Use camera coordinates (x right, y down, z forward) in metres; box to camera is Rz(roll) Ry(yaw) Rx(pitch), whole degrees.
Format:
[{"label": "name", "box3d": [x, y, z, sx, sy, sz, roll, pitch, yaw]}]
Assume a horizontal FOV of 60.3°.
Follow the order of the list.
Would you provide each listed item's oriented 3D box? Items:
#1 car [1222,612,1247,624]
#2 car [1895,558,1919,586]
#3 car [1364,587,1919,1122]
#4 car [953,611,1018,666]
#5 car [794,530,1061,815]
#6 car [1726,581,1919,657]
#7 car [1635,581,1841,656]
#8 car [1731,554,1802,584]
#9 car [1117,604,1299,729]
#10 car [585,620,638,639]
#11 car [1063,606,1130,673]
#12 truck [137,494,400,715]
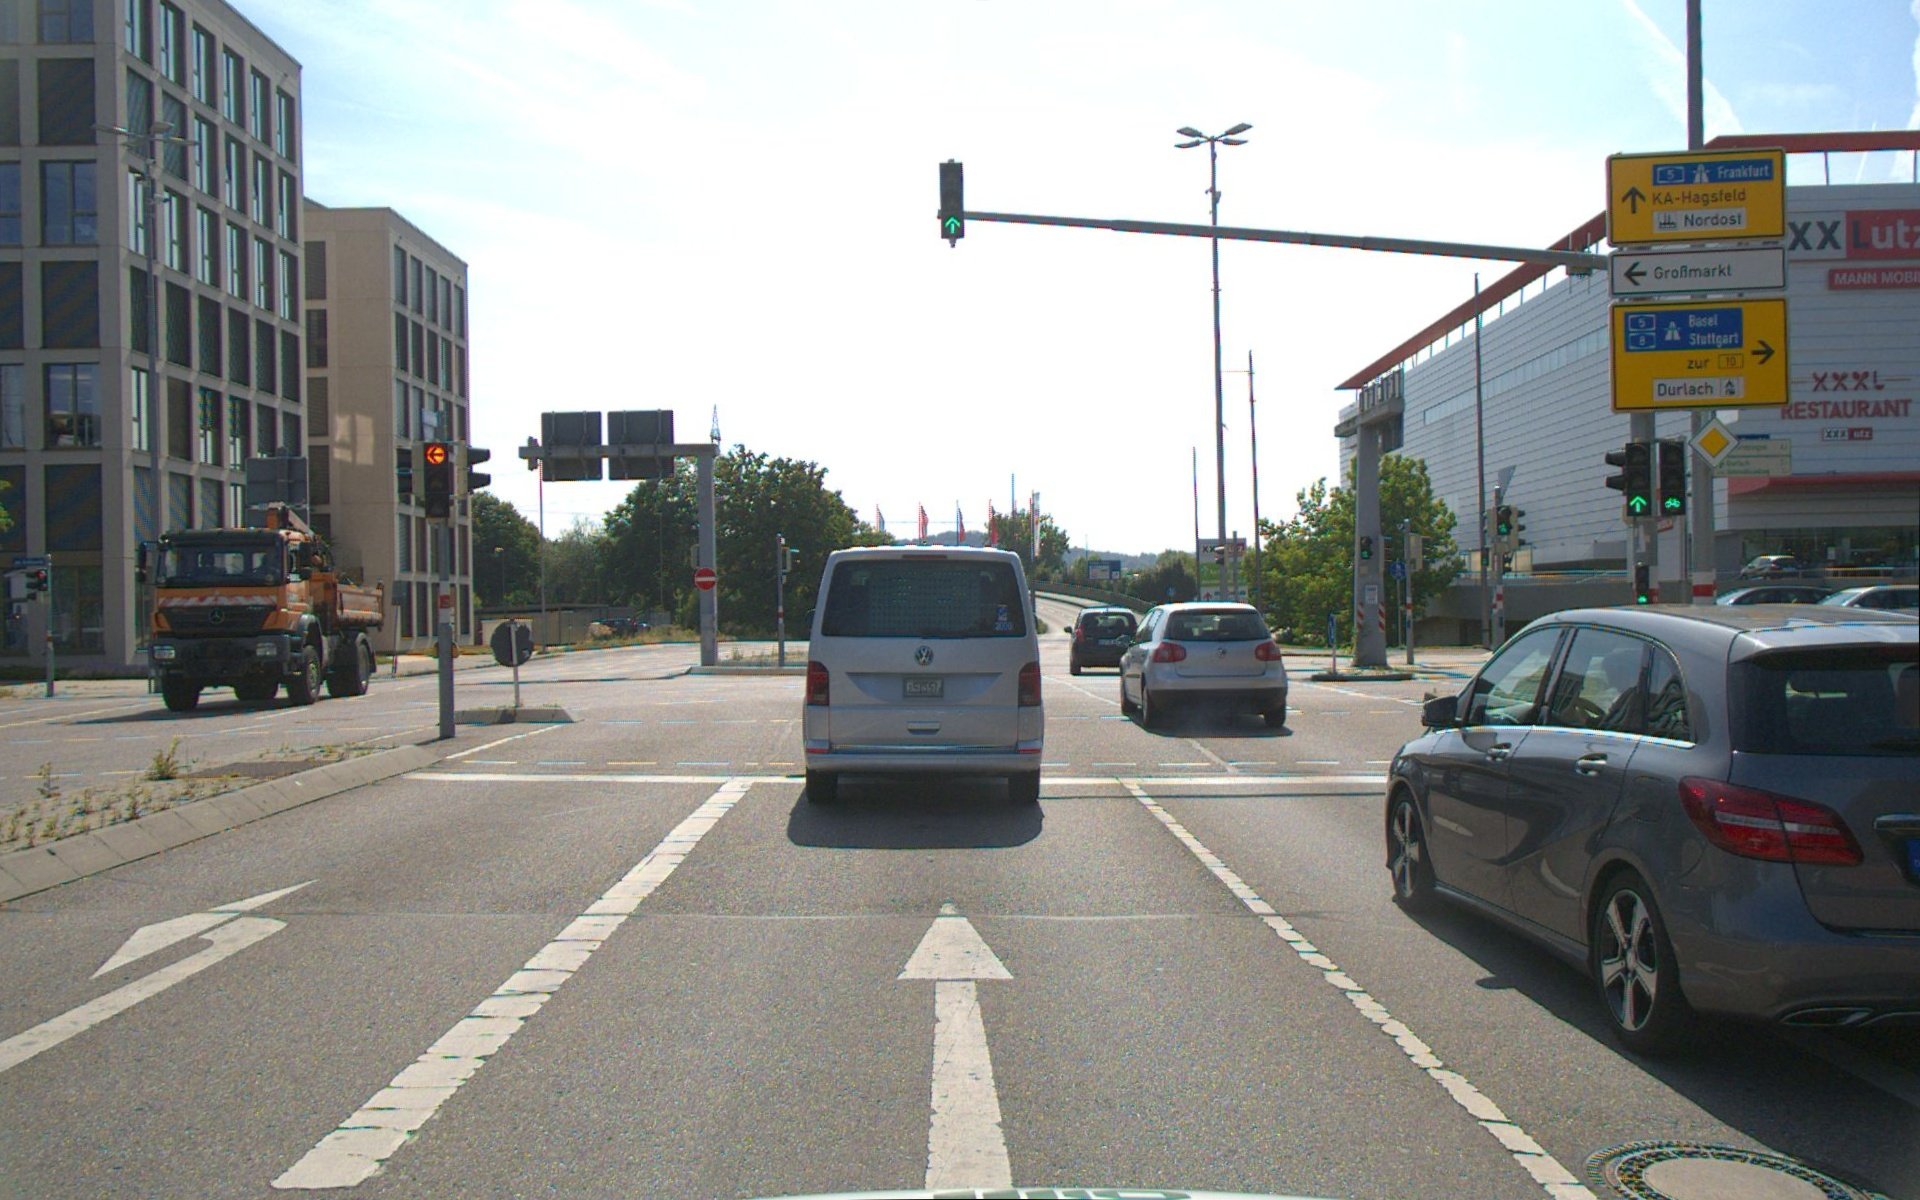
[{"label": "car", "box3d": [34.831, 2.236, 209.787, 1.957, 1.445, 3.991, 1, -1, -9]}, {"label": "car", "box3d": [52.012, -1.516, 88.424, 1.651, 1.444, 3.913, -1, 0, -3]}, {"label": "car", "box3d": [3.118, 0.737, 6.947, 1.738, 1.566, 4.136, 0, 0, -2]}, {"label": "car", "box3d": [0.750, 1.064, 47.068, 1.498, 1.506, 3.249, 0, 0, 7]}, {"label": "car", "box3d": [-0.256, 0.526, 13.862, 1.878, 2.010, 4.296, 0, 0, -1]}, {"label": "car", "box3d": [18.764, 0.383, 34.523, 4.618, 1.450, 1.959, -2, -2, 2]}, {"label": "car", "box3d": [17.599, 0.429, 37.566, 3.803, 1.586, 1.809, -1, -1, 3]}, {"label": "car", "box3d": [42.206, -1.620, 86.637, 1.734, 1.444, 4.201, -1, 0, 2]}, {"label": "car", "box3d": [3.034, 0.778, 20.873, 1.633, 1.439, 3.680, 0, 0, -2]}, {"label": "car", "box3d": [-28.215, 2.407, 133.913, 4.038, 1.445, 1.718, -1, -2, -20]}, {"label": "car", "box3d": [3.246, 0.892, 38.879, 1.498, 1.506, 3.598, 0, 0, 6]}, {"label": "truck", "box3d": [-13.183, 0.102, 32.271, 2.694, 3.744, 7.567, -2, 0, -7]}]
